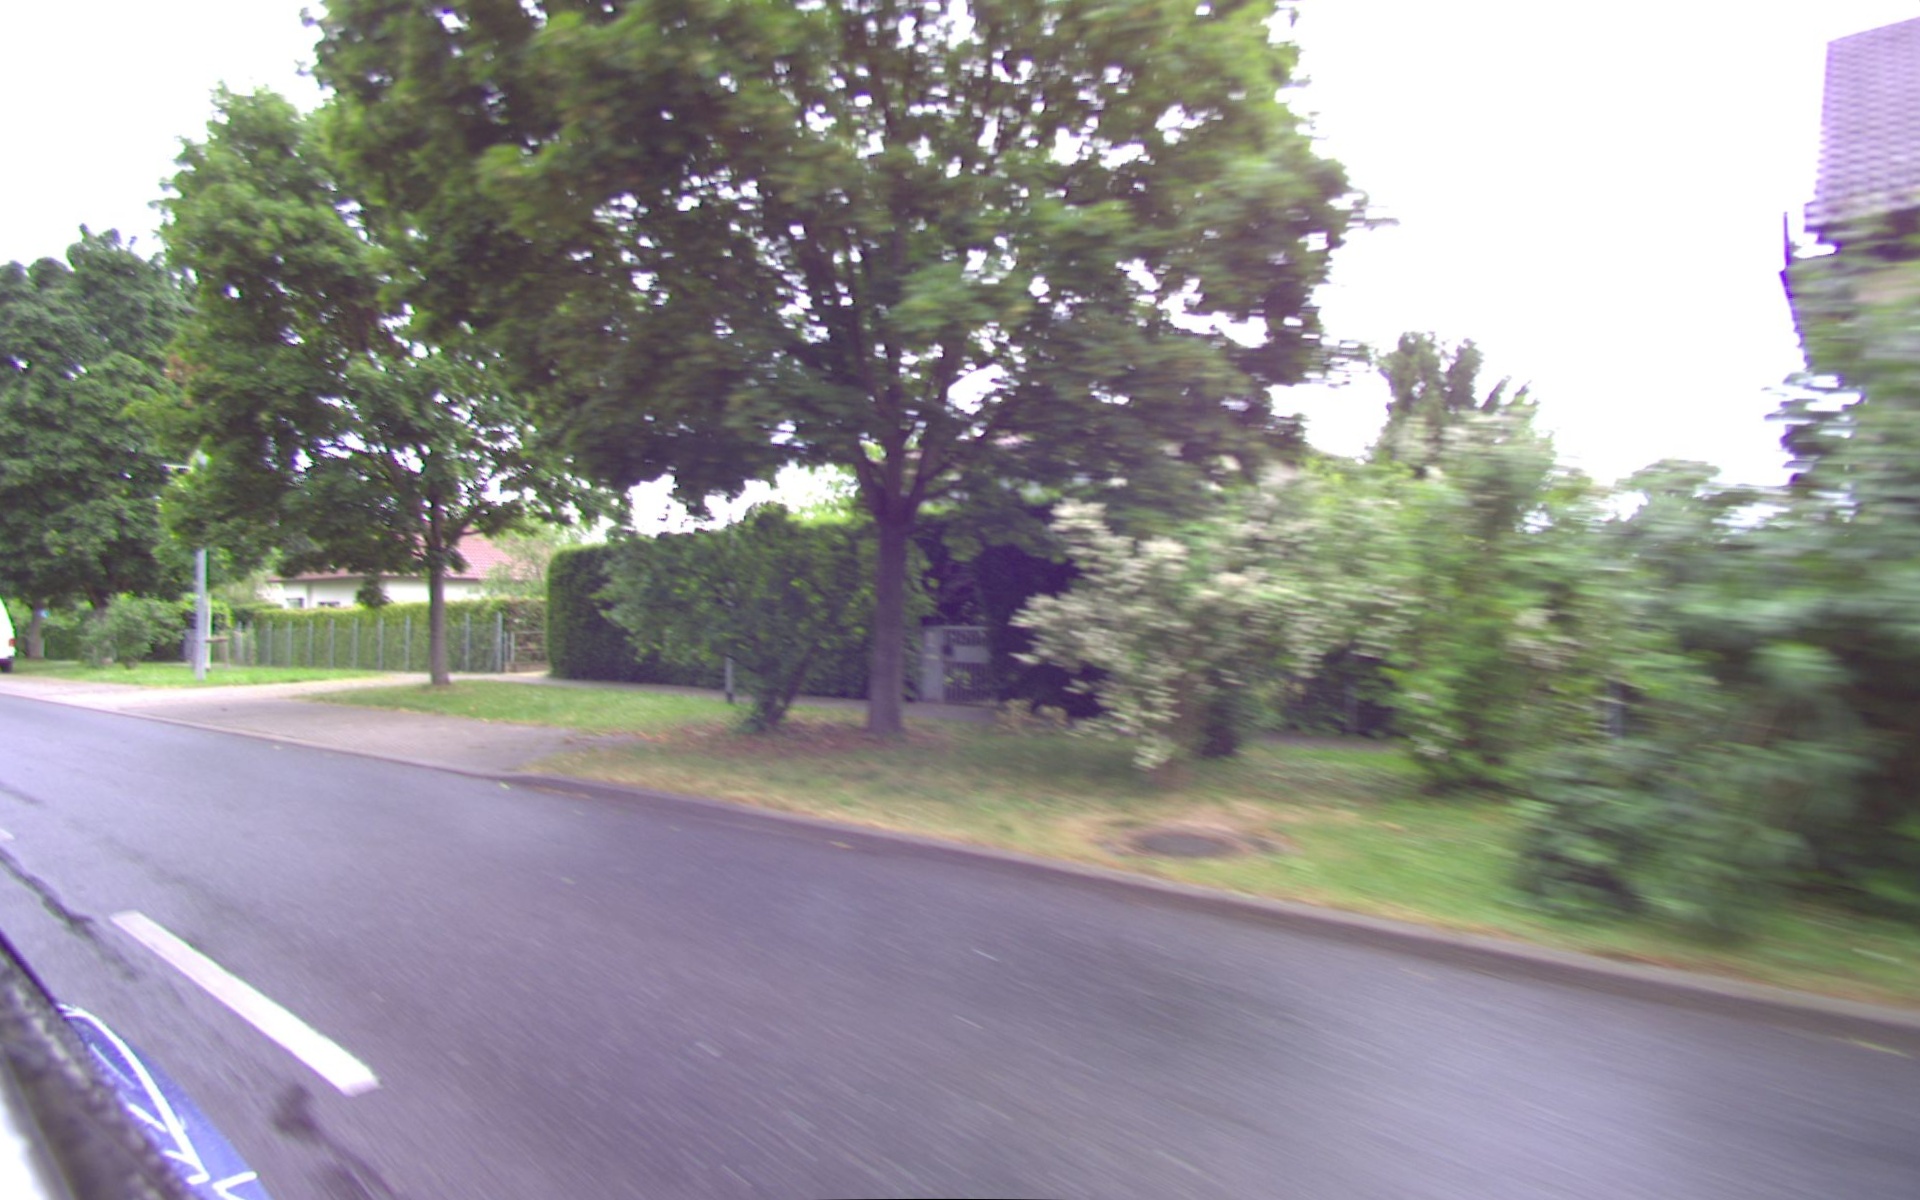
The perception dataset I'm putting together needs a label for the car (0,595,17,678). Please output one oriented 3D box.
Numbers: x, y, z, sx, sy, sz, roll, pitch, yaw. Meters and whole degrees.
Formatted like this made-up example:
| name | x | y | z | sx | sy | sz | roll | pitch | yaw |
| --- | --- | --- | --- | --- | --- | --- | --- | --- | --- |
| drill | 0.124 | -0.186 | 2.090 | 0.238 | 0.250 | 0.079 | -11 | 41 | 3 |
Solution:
| name | x | y | z | sx | sy | sz | roll | pitch | yaw |
| --- | --- | --- | --- | --- | --- | --- | --- | --- | --- |
| car | -32.319 | 1.209 | 32.560 | 5.223 | 2.580 | 1.975 | -2 | -2 | 37 |
